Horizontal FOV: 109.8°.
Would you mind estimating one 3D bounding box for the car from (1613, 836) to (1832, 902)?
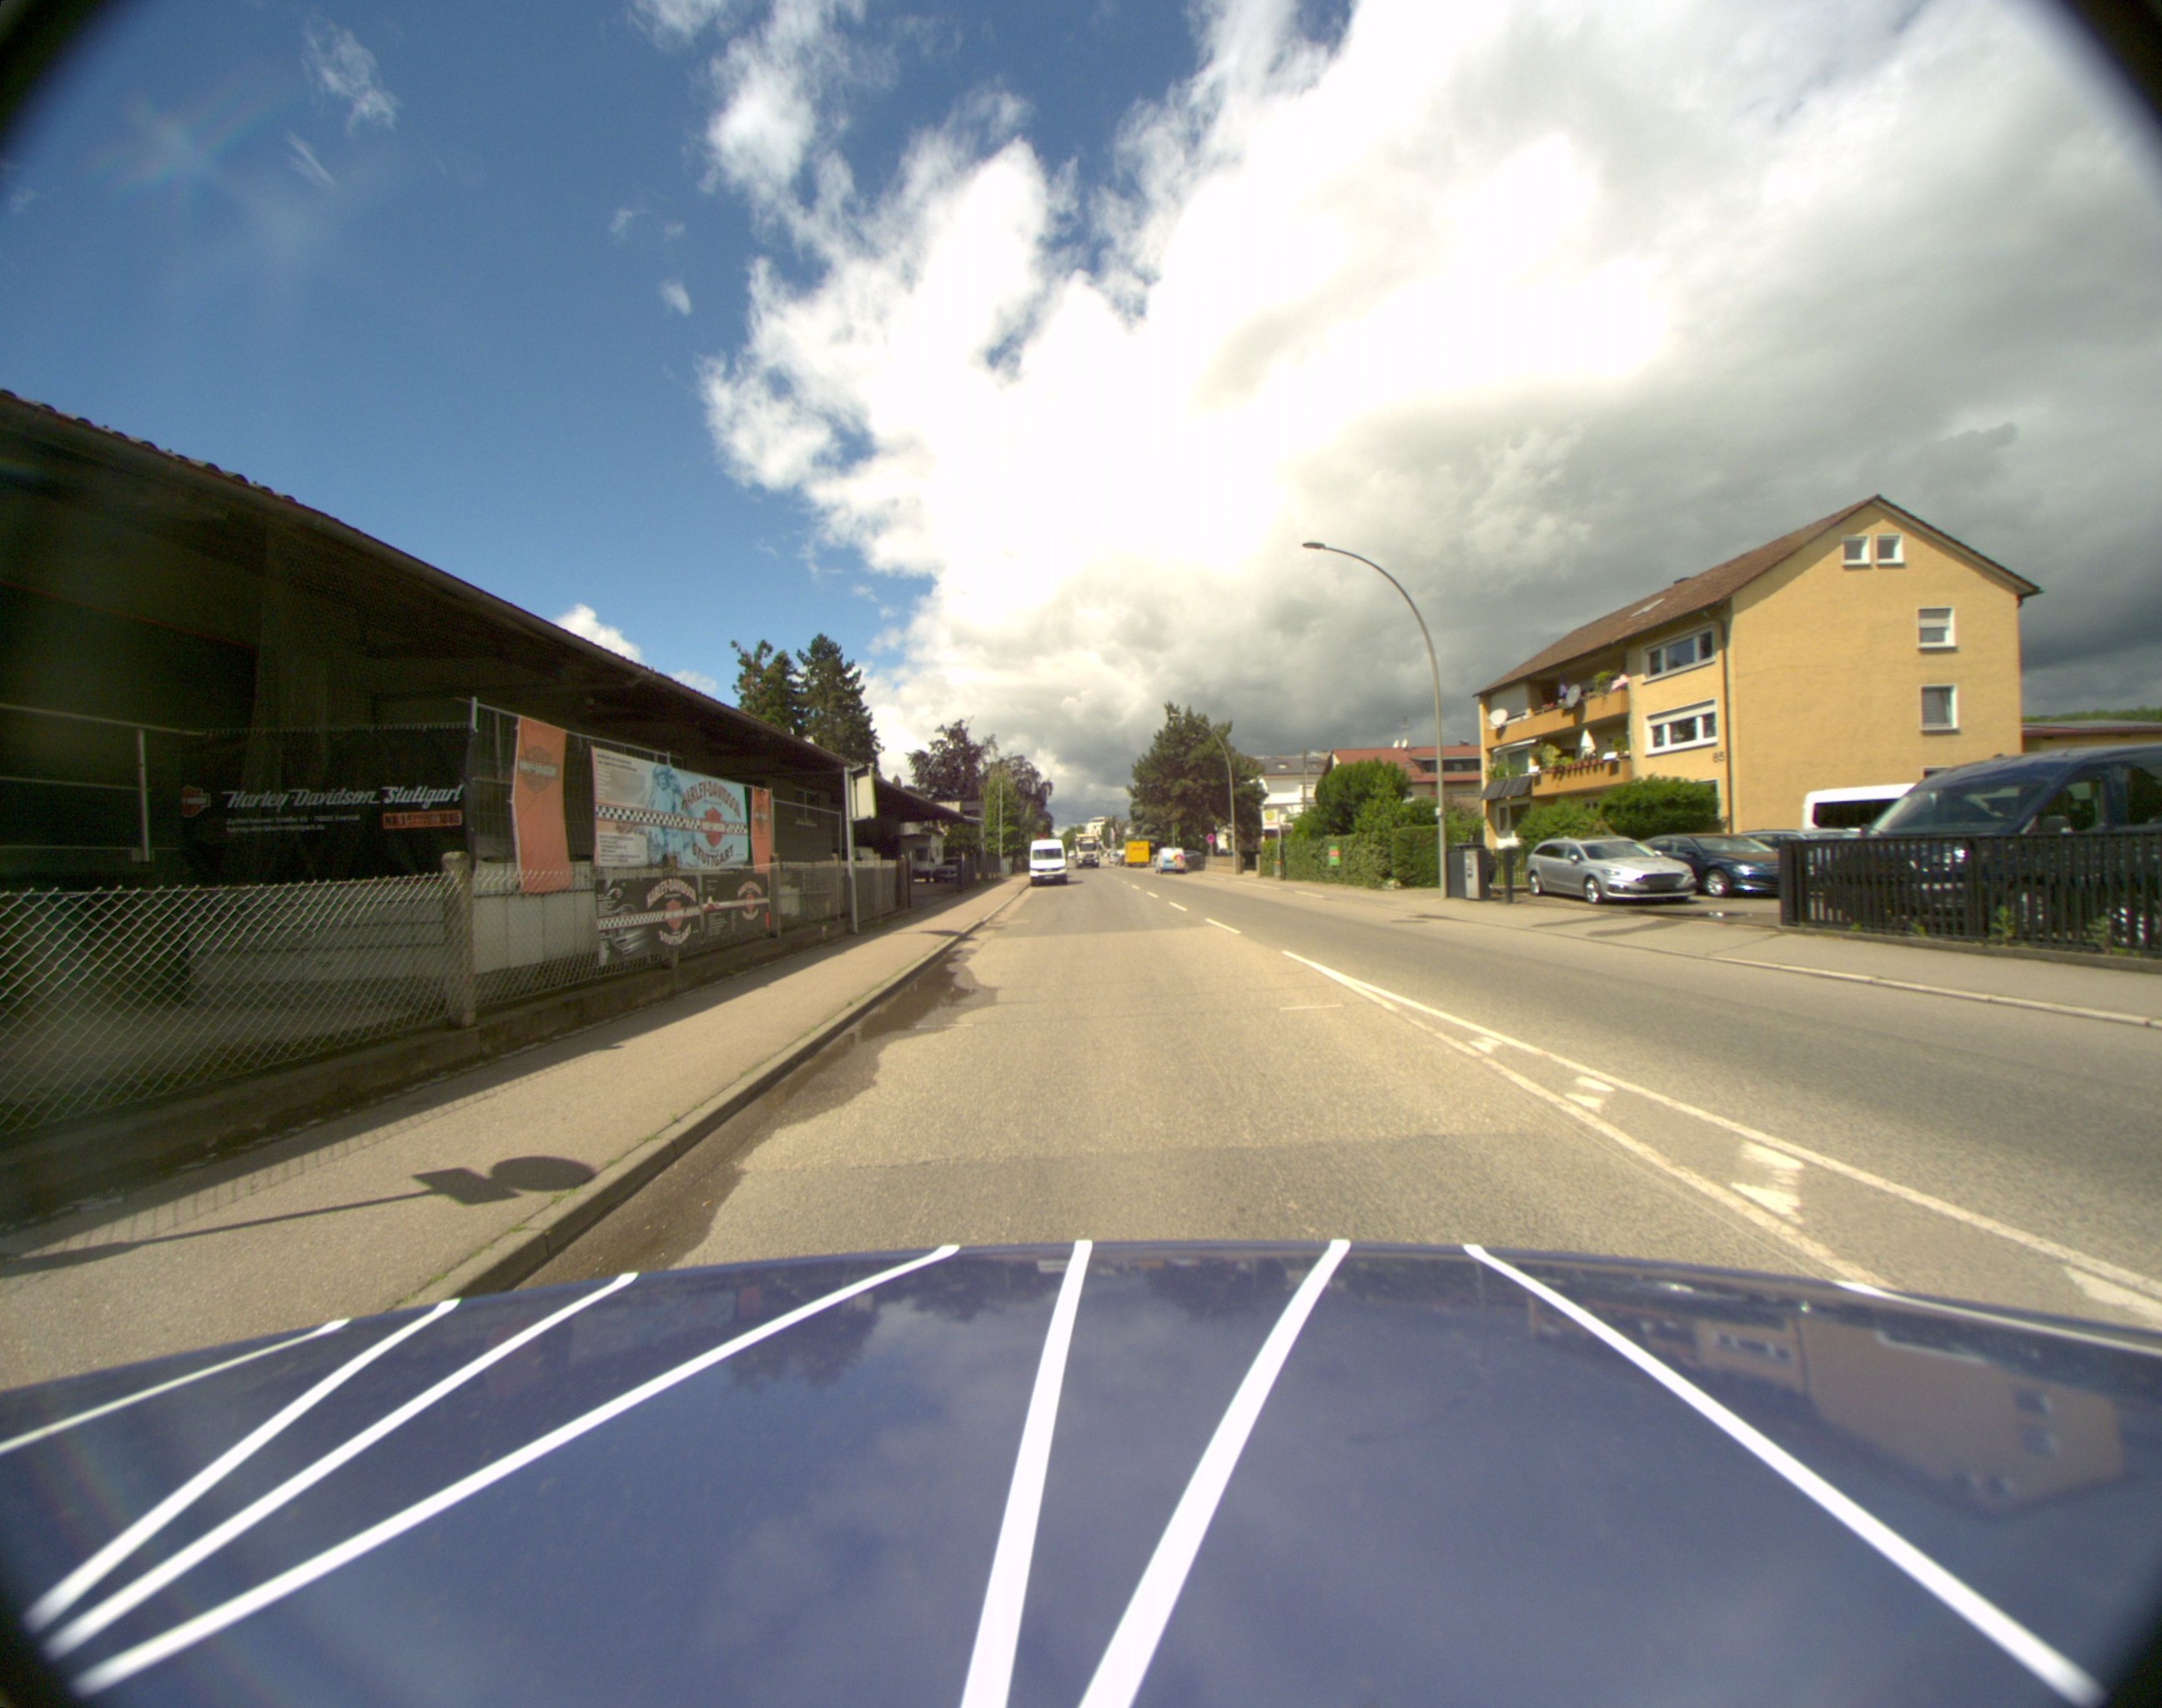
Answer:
[{"bbox_3d":[15.087,0.300,18.205,1.885,1.334,3.999,-2,1,1],"label":"car"}]

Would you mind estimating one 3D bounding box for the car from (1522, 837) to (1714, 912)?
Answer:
[{"bbox_3d":[12.337,0.393,17.856,1.887,1.450,4.352,-3,1,8],"label":"car"}]

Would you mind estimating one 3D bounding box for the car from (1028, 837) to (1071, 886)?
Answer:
[{"bbox_3d":[-1.706,0.367,43.193,2.091,2.519,5.202,-2,1,1],"label":"car"}]

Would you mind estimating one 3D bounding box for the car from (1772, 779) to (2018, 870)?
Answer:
[{"bbox_3d":[20.429,-0.691,19.366,1.998,2.002,3.999,-2,1,1],"label":"car"}]

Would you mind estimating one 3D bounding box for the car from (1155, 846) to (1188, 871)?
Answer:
[{"bbox_3d":[6.543,0.280,55.105,1.730,1.671,3.999,-2,1,-2],"label":"car"}]

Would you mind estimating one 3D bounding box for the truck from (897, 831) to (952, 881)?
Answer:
[{"bbox_3d":[-9.477,0.097,46.400,2.091,2.812,5.202,-2,1,1],"label":"truck"}]

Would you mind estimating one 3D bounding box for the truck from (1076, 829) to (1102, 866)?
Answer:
[{"bbox_3d":[0.913,-0.764,86.482,2.664,3.789,9.814,-2,1,1],"label":"truck"}]

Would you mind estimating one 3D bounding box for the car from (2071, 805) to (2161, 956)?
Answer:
[{"bbox_3d":[12.380,0.265,7.001,1.813,1.612,3.621,-2,1,1],"label":"car"}]

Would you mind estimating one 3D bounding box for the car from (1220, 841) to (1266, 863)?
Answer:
[{"bbox_3d":[15.291,-0.153,71.850,2.003,2.002,3.990,-3,1,-32],"label":"car"}]

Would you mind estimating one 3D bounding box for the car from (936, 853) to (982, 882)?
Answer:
[{"bbox_3d":[-7.142,0.727,44.836,1.863,1.521,5.202,-2,1,0],"label":"car"}]

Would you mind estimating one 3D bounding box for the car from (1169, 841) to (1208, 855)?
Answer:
[{"bbox_3d":[14.163,-0.752,99.994,4.735,1.669,2.218,-2,1,-1],"label":"car"}]

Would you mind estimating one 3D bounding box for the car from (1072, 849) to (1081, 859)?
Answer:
[{"bbox_3d":[-1.147,0.008,186.187,2.091,2.310,5.202,-2,1,1],"label":"car"}]

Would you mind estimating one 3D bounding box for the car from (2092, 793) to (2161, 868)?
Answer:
[{"bbox_3d":[28.711,-0.630,18.822,1.998,1.915,3.999,-2,1,1],"label":"car"}]

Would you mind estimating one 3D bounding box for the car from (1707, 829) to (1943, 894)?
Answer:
[{"bbox_3d":[17.910,0.144,18.616,1.883,1.364,3.999,-2,1,1],"label":"car"}]

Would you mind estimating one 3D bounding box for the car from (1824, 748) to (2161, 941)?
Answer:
[{"bbox_3d":[14.221,-0.182,10.680,5.363,2.371,2.104,-2,1,2],"label":"car"}]

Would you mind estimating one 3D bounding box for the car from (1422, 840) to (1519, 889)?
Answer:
[{"bbox_3d":[14.626,0.357,28.736,1.831,1.656,3.522,-2,1,1],"label":"car"}]
